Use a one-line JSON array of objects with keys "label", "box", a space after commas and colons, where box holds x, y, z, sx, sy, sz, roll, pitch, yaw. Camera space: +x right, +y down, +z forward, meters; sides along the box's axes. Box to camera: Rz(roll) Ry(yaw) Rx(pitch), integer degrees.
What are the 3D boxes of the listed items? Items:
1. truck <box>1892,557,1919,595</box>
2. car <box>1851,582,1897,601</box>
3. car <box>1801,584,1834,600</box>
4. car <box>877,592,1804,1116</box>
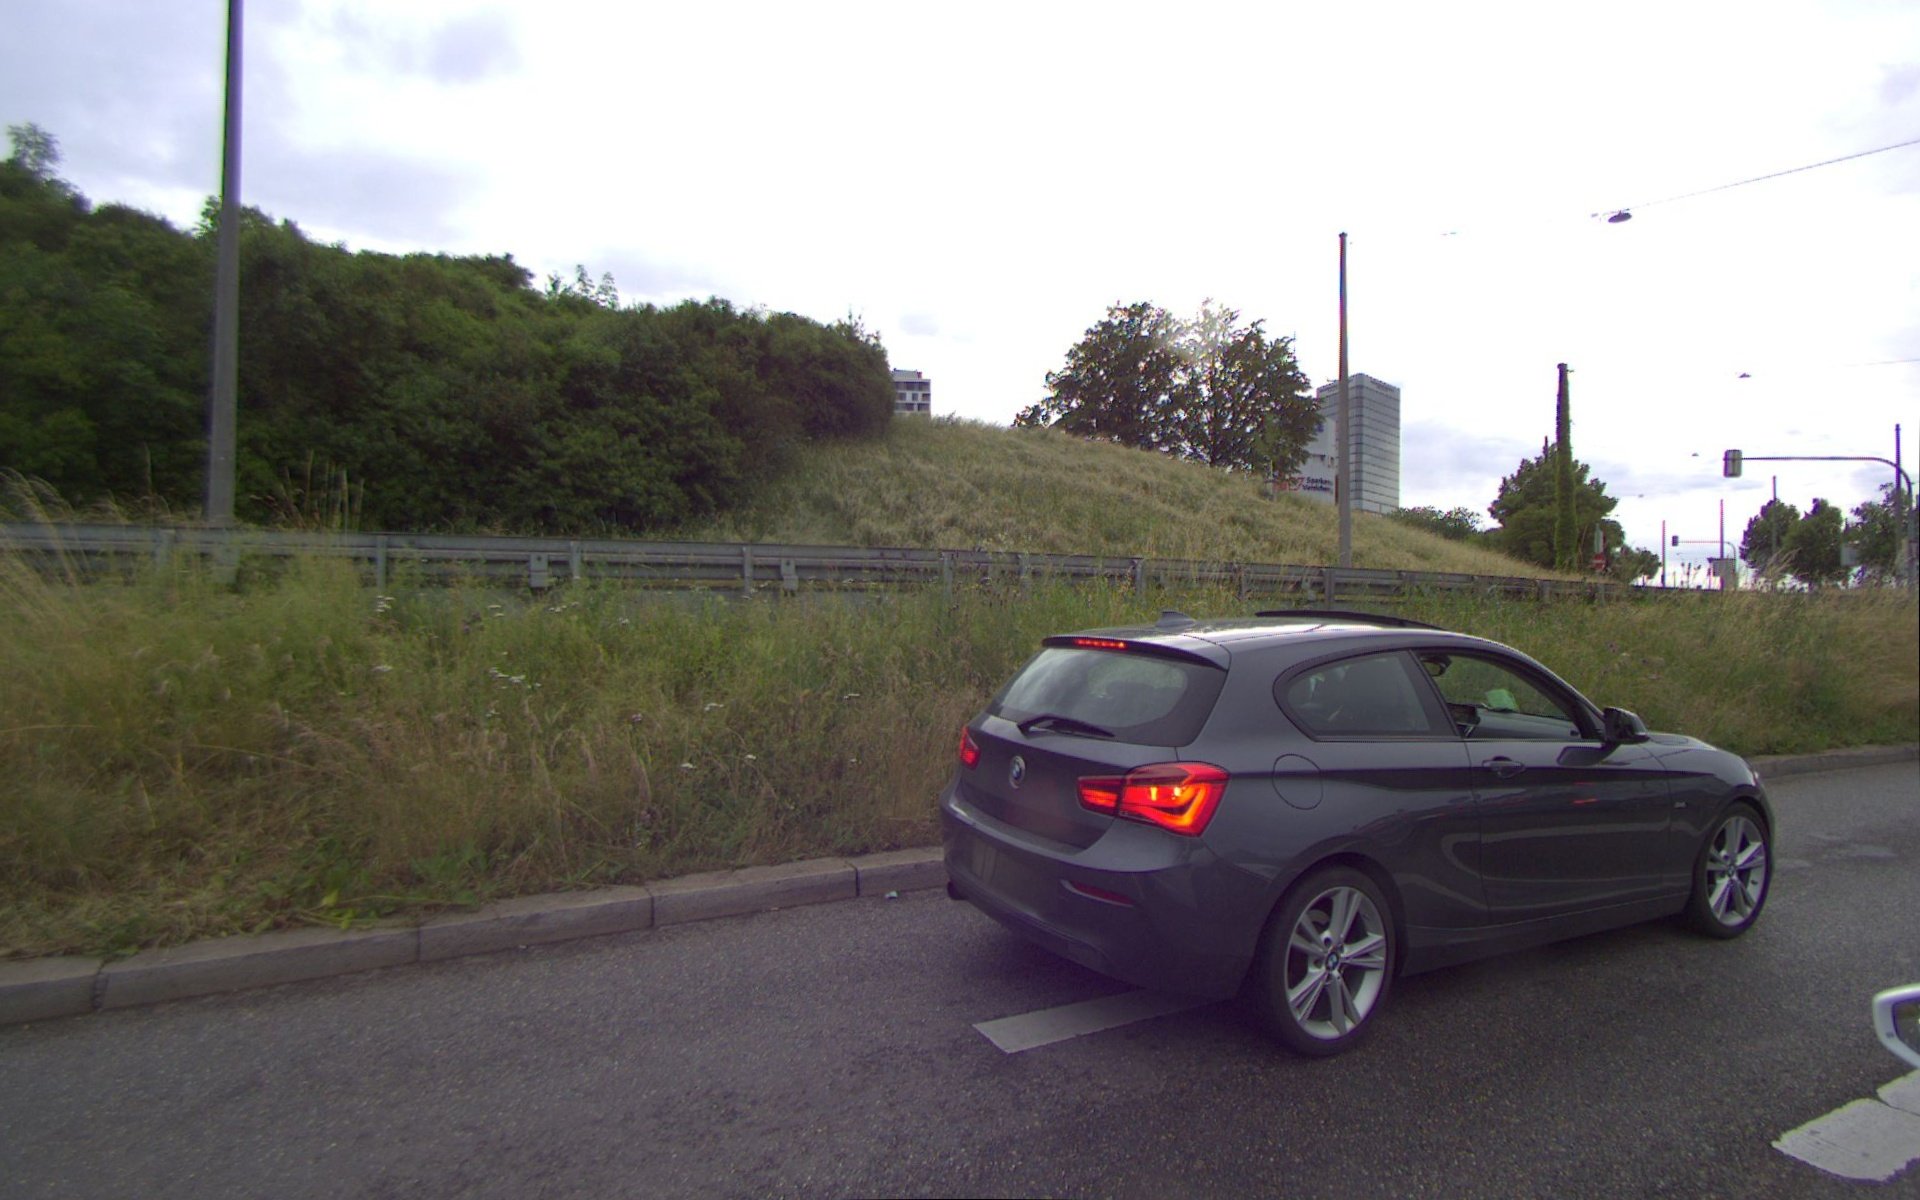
[{"label": "truck", "box": [81.397, -1.928, 83.893, 3.206, 3.116, 6.171, 3, 3, 24]}, {"label": "car", "box": [89.306, -0.822, 98.175, 1.962, 1.682, 4.540, 3, 3, 25]}, {"label": "car", "box": [98.847, -0.881, 115.848, 1.964, 1.681, 4.537, 2, 0, 29]}, {"label": "car", "box": [1.834, 0.782, 4.565, 4.063, 1.479, 1.696, 2, -1, -28]}]
